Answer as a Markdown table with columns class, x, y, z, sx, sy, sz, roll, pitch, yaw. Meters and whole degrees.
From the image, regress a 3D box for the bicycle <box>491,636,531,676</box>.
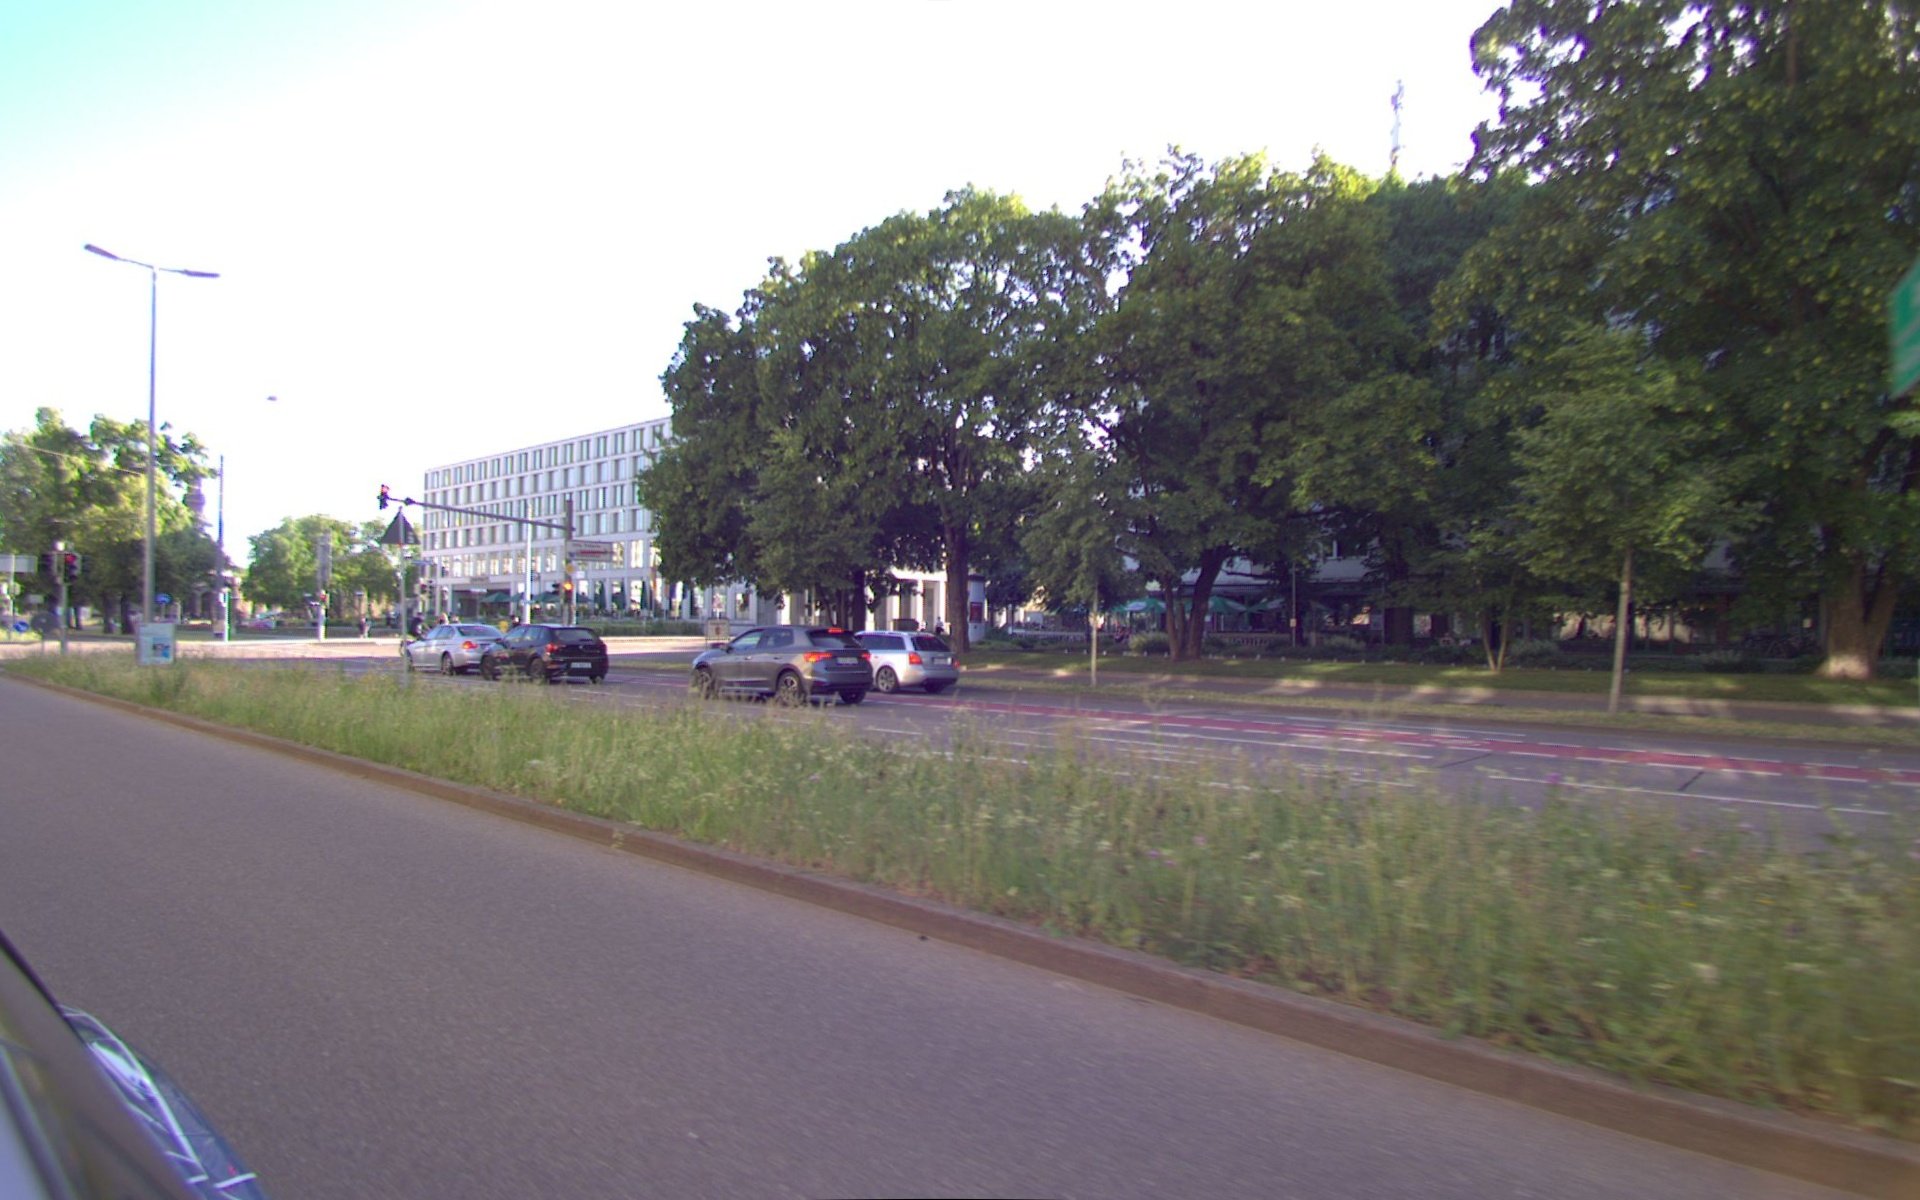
| class | x | y | z | sx | sy | sz | roll | pitch | yaw |
| --- | --- | --- | --- | --- | --- | --- | --- | --- | --- |
| bicycle | -14.779 | 1.829 | 33.290 | 0.765 | 1.249 | 2.255 | 2 | -2 | -34 |

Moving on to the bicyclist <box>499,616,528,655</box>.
| class | x | y | z | sx | sy | sz | roll | pitch | yaw |
| --- | --- | --- | --- | --- | --- | --- | --- | --- | --- |
| bicyclist | -20.021 | 1.570 | 45.386 | 0.775 | 1.703 | 0.913 | 1 | 1 | 41 |

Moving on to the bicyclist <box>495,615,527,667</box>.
| class | x | y | z | sx | sy | sz | roll | pitch | yaw |
| --- | --- | --- | --- | --- | --- | --- | --- | --- | --- |
| bicyclist | -14.745 | 1.350 | 33.248 | 0.771 | 1.692 | 0.841 | 3 | -3 | -35 |

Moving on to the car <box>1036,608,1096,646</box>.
| class | x | y | z | sx | sy | sz | roll | pitch | yaw |
| --- | --- | --- | --- | --- | --- | --- | --- | --- | --- |
| car | 8.636 | 2.186 | 82.280 | 2.597 | 2.975 | 5.024 | -1 | -2 | 38 |

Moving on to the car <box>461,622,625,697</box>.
| class | x | y | z | sx | sy | sz | roll | pitch | yaw |
| --- | --- | --- | --- | --- | --- | --- | --- | --- | --- |
| car | -10.434 | 1.402 | 25.182 | 4.547 | 1.688 | 1.973 | -1 | -2 | 41 |

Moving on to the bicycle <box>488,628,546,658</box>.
| class | x | y | z | sx | sy | sz | roll | pitch | yaw |
| --- | --- | --- | --- | --- | --- | --- | --- | --- | --- |
| bicycle | -19.905 | 1.905 | 45.516 | 0.778 | 1.249 | 2.281 | 1 | 1 | 40 |

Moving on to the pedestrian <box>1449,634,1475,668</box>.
| class | x | y | z | sx | sy | sz | roll | pitch | yaw |
| --- | --- | --- | --- | --- | --- | --- | --- | --- | --- |
| pedestrian | 20.004 | 2.020 | 40.337 | 0.716 | 1.350 | 0.817 | -1 | -2 | 44 |

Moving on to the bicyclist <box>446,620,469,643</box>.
| class | x | y | z | sx | sy | sz | roll | pitch | yaw |
| --- | --- | --- | --- | --- | --- | --- | --- | --- | --- |
| bicyclist | -30.368 | 1.912 | 61.174 | 0.826 | 1.372 | 0.960 | -1 | -2 | 40 |

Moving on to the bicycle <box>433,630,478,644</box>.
| class | x | y | z | sx | sy | sz | roll | pitch | yaw |
| --- | --- | --- | --- | --- | --- | --- | --- | --- | --- |
| bicycle | -30.437 | 2.233 | 61.103 | 0.843 | 0.858 | 2.304 | -1 | -2 | 40 |

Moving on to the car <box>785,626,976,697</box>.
| class | x | y | z | sx | sy | sz | roll | pitch | yaw |
| --- | --- | --- | --- | --- | --- | --- | --- | --- | --- |
| car | -1.977 | 1.420 | 24.216 | 4.586 | 1.538 | 1.913 | -1 | -3 | 42 |

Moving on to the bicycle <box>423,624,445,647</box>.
| class | x | y | z | sx | sy | sz | roll | pitch | yaw |
| --- | --- | --- | --- | --- | --- | --- | --- | --- | --- |
| bicycle | -28.800 | 1.924 | 55.434 | 0.832 | 1.240 | 2.021 | 1 | -2 | -20 |

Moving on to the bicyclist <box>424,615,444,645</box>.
| class | x | y | z | sx | sy | sz | roll | pitch | yaw |
| --- | --- | --- | --- | --- | --- | --- | --- | --- | --- |
| bicyclist | -28.787 | 1.633 | 55.402 | 0.837 | 1.631 | 0.976 | 1 | -2 | -20 |

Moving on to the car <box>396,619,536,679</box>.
| class | x | y | z | sx | sy | sz | roll | pitch | yaw |
| --- | --- | --- | --- | --- | --- | --- | --- | --- | --- |
| car | -14.162 | 1.335 | 28.896 | 4.547 | 1.572 | 1.973 | -1 | -2 | 41 |

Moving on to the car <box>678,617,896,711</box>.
| class | x | y | z | sx | sy | sz | roll | pitch | yaw |
| --- | --- | --- | --- | --- | --- | --- | --- | --- | --- |
| car | -3.354 | 1.136 | 19.251 | 4.058 | 1.576 | 1.973 | -1 | -2 | 41 |

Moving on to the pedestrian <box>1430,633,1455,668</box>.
| class | x | y | z | sx | sy | sz | roll | pitch | yaw |
| --- | --- | --- | --- | --- | --- | --- | --- | --- | --- |
| pedestrian | 19.452 | 2.025 | 40.801 | 0.665 | 1.350 | 0.895 | -1 | -2 | 44 |

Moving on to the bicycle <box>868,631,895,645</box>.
| class | x | y | z | sx | sy | sz | roll | pitch | yaw |
| --- | --- | --- | --- | --- | --- | --- | --- | --- | --- |
| bicycle | -5.086 | 2.445 | 65.157 | 1.601 | 0.896 | 0.762 | -1 | -2 | 33 |

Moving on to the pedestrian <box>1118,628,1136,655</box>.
| class | x | y | z | sx | sy | sz | roll | pitch | yaw |
| --- | --- | --- | --- | --- | --- | --- | --- | --- | --- |
| pedestrian | 8.329 | 2.063 | 50.383 | 0.599 | 1.350 | 0.723 | -1 | -2 | 44 |

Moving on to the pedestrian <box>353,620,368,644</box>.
| class | x | y | z | sx | sy | sz | roll | pitch | yaw |
| --- | --- | --- | --- | --- | --- | --- | --- | --- | --- |
| pedestrian | -38.464 | 2.051 | 64.926 | 0.602 | 1.537 | 0.616 | -1 | -2 | 36 |

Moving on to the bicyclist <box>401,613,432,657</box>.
| class | x | y | z | sx | sy | sz | roll | pitch | yaw |
| --- | --- | --- | --- | --- | --- | --- | --- | --- | --- |
| bicyclist | -22.026 | 1.413 | 41.044 | 0.754 | 1.756 | 0.827 | 1 | -1 | 41 |

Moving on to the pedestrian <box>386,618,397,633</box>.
| class | x | y | z | sx | sy | sz | roll | pitch | yaw |
| --- | --- | --- | --- | --- | --- | --- | --- | --- | --- |
| pedestrian | -57.738 | 2.563 | 102.814 | 0.762 | 1.537 | 0.774 | -1 | -2 | 41 |

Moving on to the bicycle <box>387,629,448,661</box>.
| class | x | y | z | sx | sy | sz | roll | pitch | yaw |
| --- | --- | --- | --- | --- | --- | --- | --- | --- | --- |
| bicycle | -22.011 | 1.801 | 41.077 | 0.778 | 1.249 | 1.993 | 1 | -1 | 40 |
